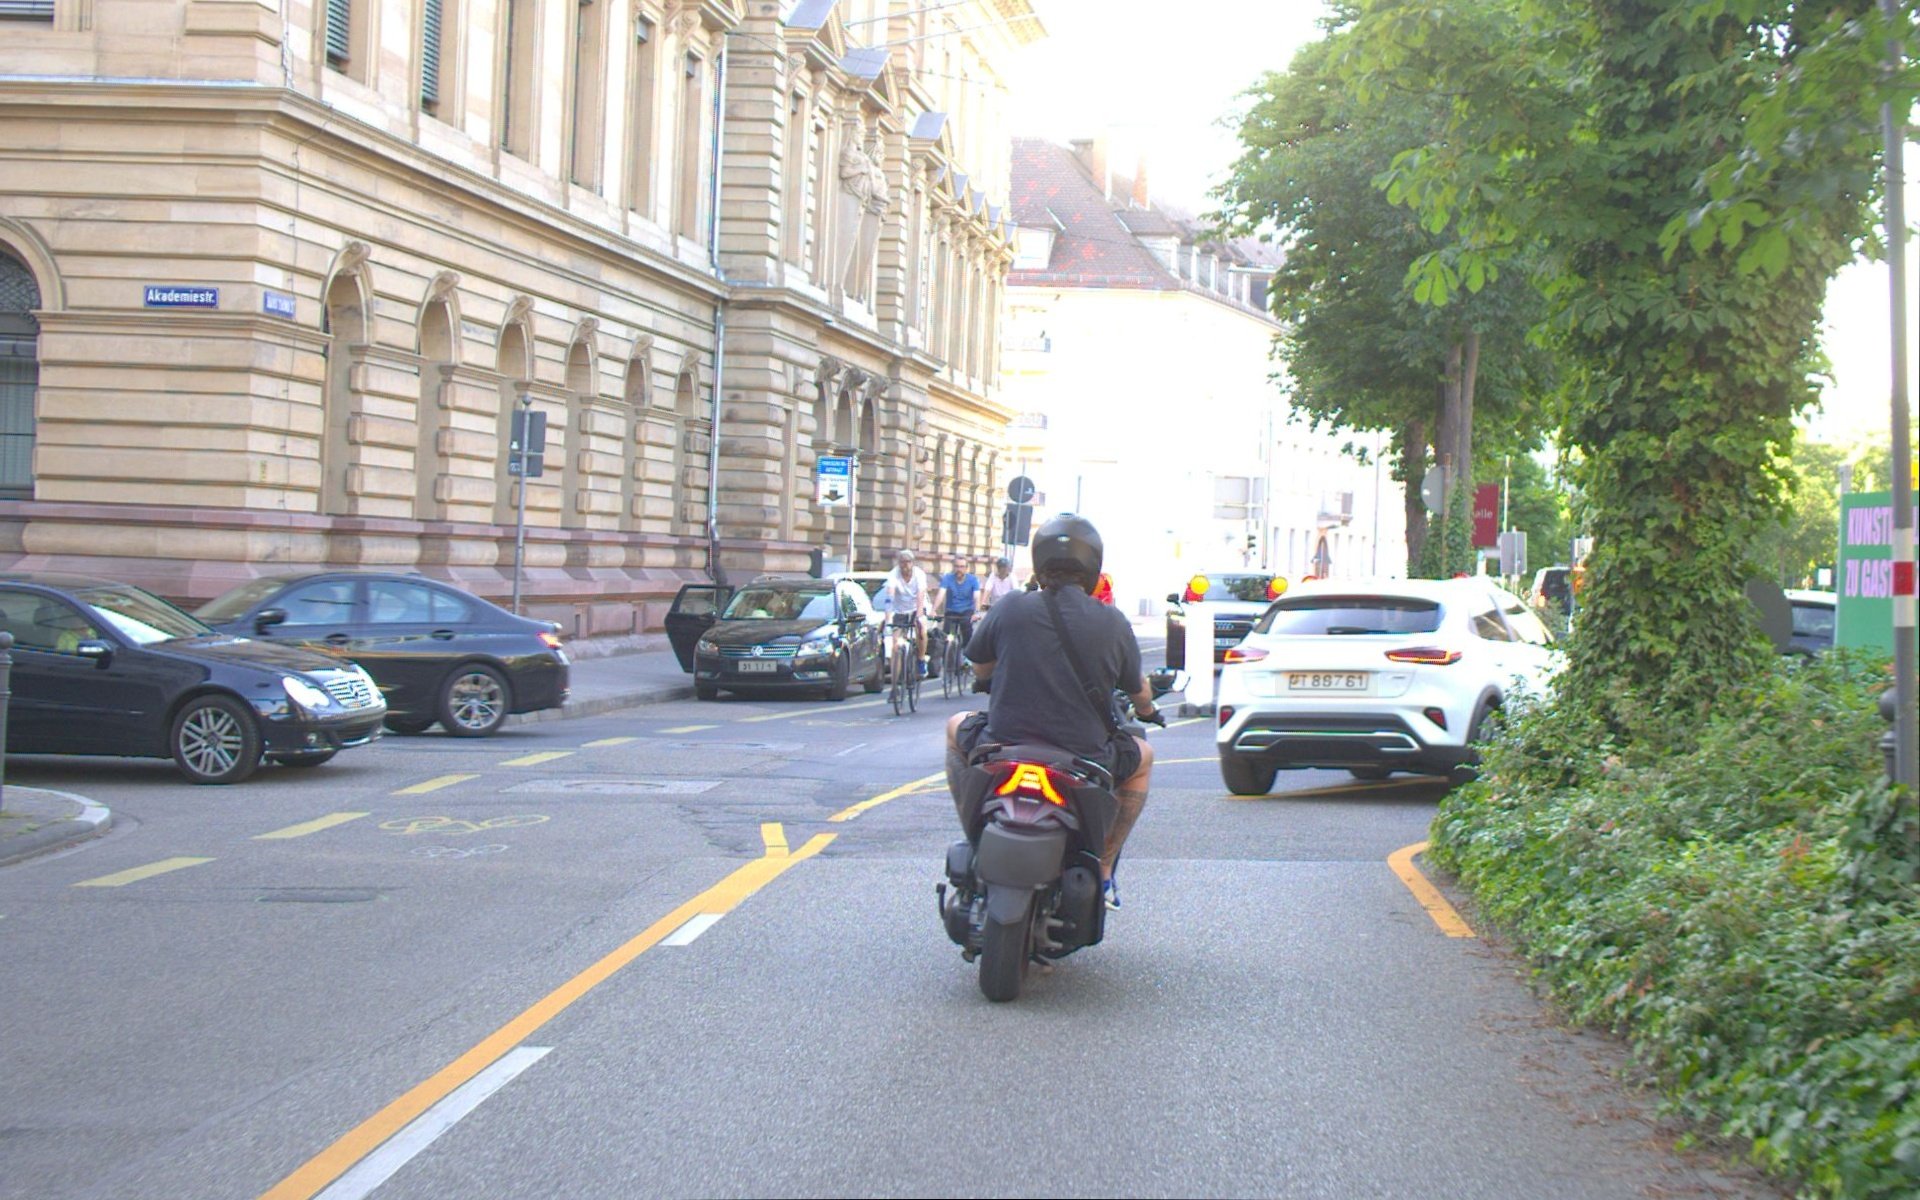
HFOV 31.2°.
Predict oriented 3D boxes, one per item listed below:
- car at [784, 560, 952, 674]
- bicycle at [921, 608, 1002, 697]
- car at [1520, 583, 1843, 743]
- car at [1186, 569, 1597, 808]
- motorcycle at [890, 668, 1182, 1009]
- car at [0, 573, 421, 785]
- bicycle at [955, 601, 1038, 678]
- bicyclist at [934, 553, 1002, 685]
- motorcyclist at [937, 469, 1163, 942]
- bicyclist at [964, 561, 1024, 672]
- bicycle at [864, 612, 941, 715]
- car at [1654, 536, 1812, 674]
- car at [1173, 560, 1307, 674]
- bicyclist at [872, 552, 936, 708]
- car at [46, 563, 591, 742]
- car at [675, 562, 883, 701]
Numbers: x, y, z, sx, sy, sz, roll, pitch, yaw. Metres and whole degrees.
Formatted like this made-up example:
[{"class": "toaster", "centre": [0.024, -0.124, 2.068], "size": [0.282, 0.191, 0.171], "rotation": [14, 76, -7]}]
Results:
[{"class": "car", "centre": [-1.257, 0.209, 48.923], "size": [1.994, 1.523, 4.184], "rotation": [1, 1, 4]}, {"class": "bicycle", "centre": [0.029, 0.637, 42.487], "size": [0.533, 1.031, 1.906], "rotation": [1, 1, 14]}, {"class": "car", "centre": [7.477, 0.636, 35.358], "size": [1.844, 1.458, 4.049], "rotation": [3, 1, 33]}, {"class": "car", "centre": [3.087, 0.537, 23.878], "size": [1.853, 1.475, 4.053], "rotation": [0, 1, 22]}, {"class": "motorcycle", "centre": [0.311, 0.822, 12.485], "size": [0.797, 1.062, 1.724], "rotation": [3, 1, 9]}, {"class": "car", "centre": [-6.213, 0.520, 24.548], "size": [4.315, 1.385, 1.775], "rotation": [1, 1, 9]}, {"class": "bicycle", "centre": [0.529, 0.546, 48.606], "size": [0.533, 1.031, 2.034], "rotation": [1, 1, 19]}, {"class": "bicyclist", "centre": [0.104, 0.231, 42.530], "size": [0.628, 1.608, 0.869], "rotation": [1, 1, 14]}, {"class": "motorcyclist", "centre": [0.336, 0.370, 12.511], "size": [0.657, 1.645, 0.650], "rotation": [3, 1, 9]}, {"class": "bicyclist", "centre": [0.481, 0.226, 48.578], "size": [0.629, 1.548, 0.731], "rotation": [1, 1, 20]}, {"class": "bicycle", "centre": [-0.614, 0.667, 37.100], "size": [0.583, 1.031, 2.128], "rotation": [1, 1, 5]}, {"class": "car", "centre": [11.611, 0.056, 51.855], "size": [1.841, 1.906, 4.056], "rotation": [3, 1, 7]}, {"class": "car", "centre": [4.378, 0.230, 54.184], "size": [1.994, 1.689, 4.399], "rotation": [1, 1, 4]}, {"class": "bicyclist", "centre": [-0.601, 0.316, 37.133], "size": [0.566, 1.661, 0.834], "rotation": [1, 1, 6]}, {"class": "car", "centre": [-5.558, 0.443, 29.688], "size": [4.453, 1.456, 1.776], "rotation": [1, 1, -16]}, {"class": "car", "centre": [-2.126, 0.335, 41.588], "size": [1.994, 1.561, 4.288], "rotation": [1, 1, 4]}]
